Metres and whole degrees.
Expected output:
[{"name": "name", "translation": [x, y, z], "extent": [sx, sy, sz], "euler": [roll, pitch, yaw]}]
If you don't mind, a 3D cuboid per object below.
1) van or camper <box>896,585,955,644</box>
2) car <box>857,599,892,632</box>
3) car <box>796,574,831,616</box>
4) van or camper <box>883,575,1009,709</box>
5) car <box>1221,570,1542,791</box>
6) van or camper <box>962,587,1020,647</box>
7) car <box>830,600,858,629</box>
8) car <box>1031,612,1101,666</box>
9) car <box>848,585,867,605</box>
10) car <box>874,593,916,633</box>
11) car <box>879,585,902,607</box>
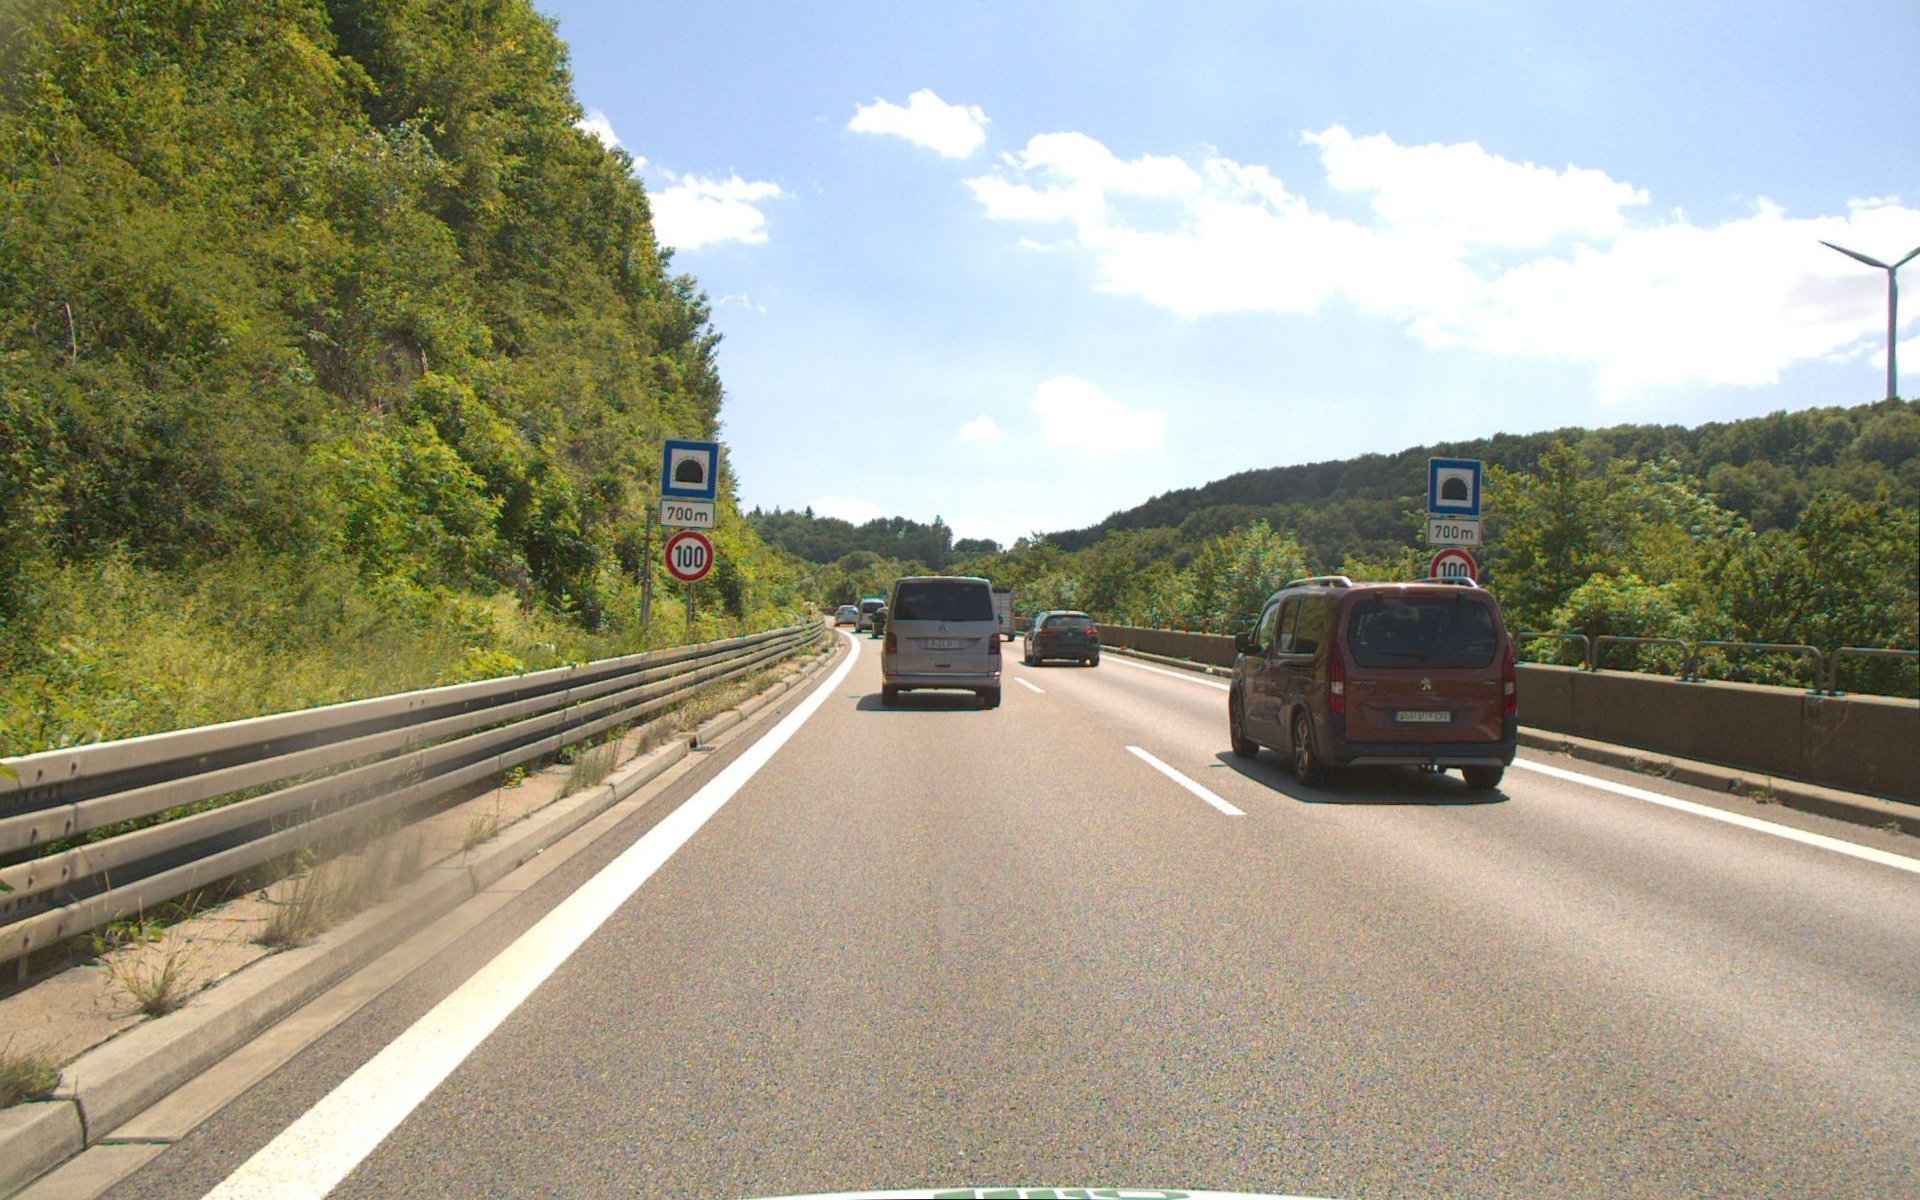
[{"name": "van or camper", "translation": [-2.444, 0.938, 113.382], "extent": [3.214, 3.855, 8.098], "euler": [1, 0, -7]}, {"name": "car", "translation": [-4.863, 0.858, 94.374], "extent": [1.953, 1.849, 3.998], "euler": [1, 0, -3]}, {"name": "car", "translation": [-18.026, -0.565, 202.825], "extent": [3.966, 4.957, 10.095], "euler": [1, 0, -6]}, {"name": "van or camper", "translation": [-0.306, 0.637, 26.721], "extent": [1.838, 1.984, 4.291], "euler": [0, 0, -3]}, {"name": "car", "translation": [3.856, 0.693, 16.017], "extent": [1.796, 1.815, 4.674], "euler": [0, -1, -2]}, {"name": "van or camper", "translation": [1.355, 0.759, 74.864], "extent": [2.219, 2.596, 4.732], "euler": [-1, 0, -4]}, {"name": "car", "translation": [-8.142, 0.995, 115.770], "extent": [1.954, 1.948, 3.996], "euler": [1, 0, -5]}, {"name": "car", "translation": [2.862, 1.042, 45.234], "extent": [1.732, 1.400, 3.592], "euler": [1, 0, 0]}, {"name": "car", "translation": [-10.806, -0.491, 174.186], "extent": [1.955, 2.049, 3.996], "euler": [1, 0, -5]}, {"name": "car", "translation": [-3.112, 0.609, 78.770], "extent": [1.953, 1.849, 3.998], "euler": [1, 0, -3]}, {"name": "car", "translation": [-6.698, -0.365, 159.234], "extent": [1.955, 2.049, 3.995], "euler": [1, 0, -6]}]
